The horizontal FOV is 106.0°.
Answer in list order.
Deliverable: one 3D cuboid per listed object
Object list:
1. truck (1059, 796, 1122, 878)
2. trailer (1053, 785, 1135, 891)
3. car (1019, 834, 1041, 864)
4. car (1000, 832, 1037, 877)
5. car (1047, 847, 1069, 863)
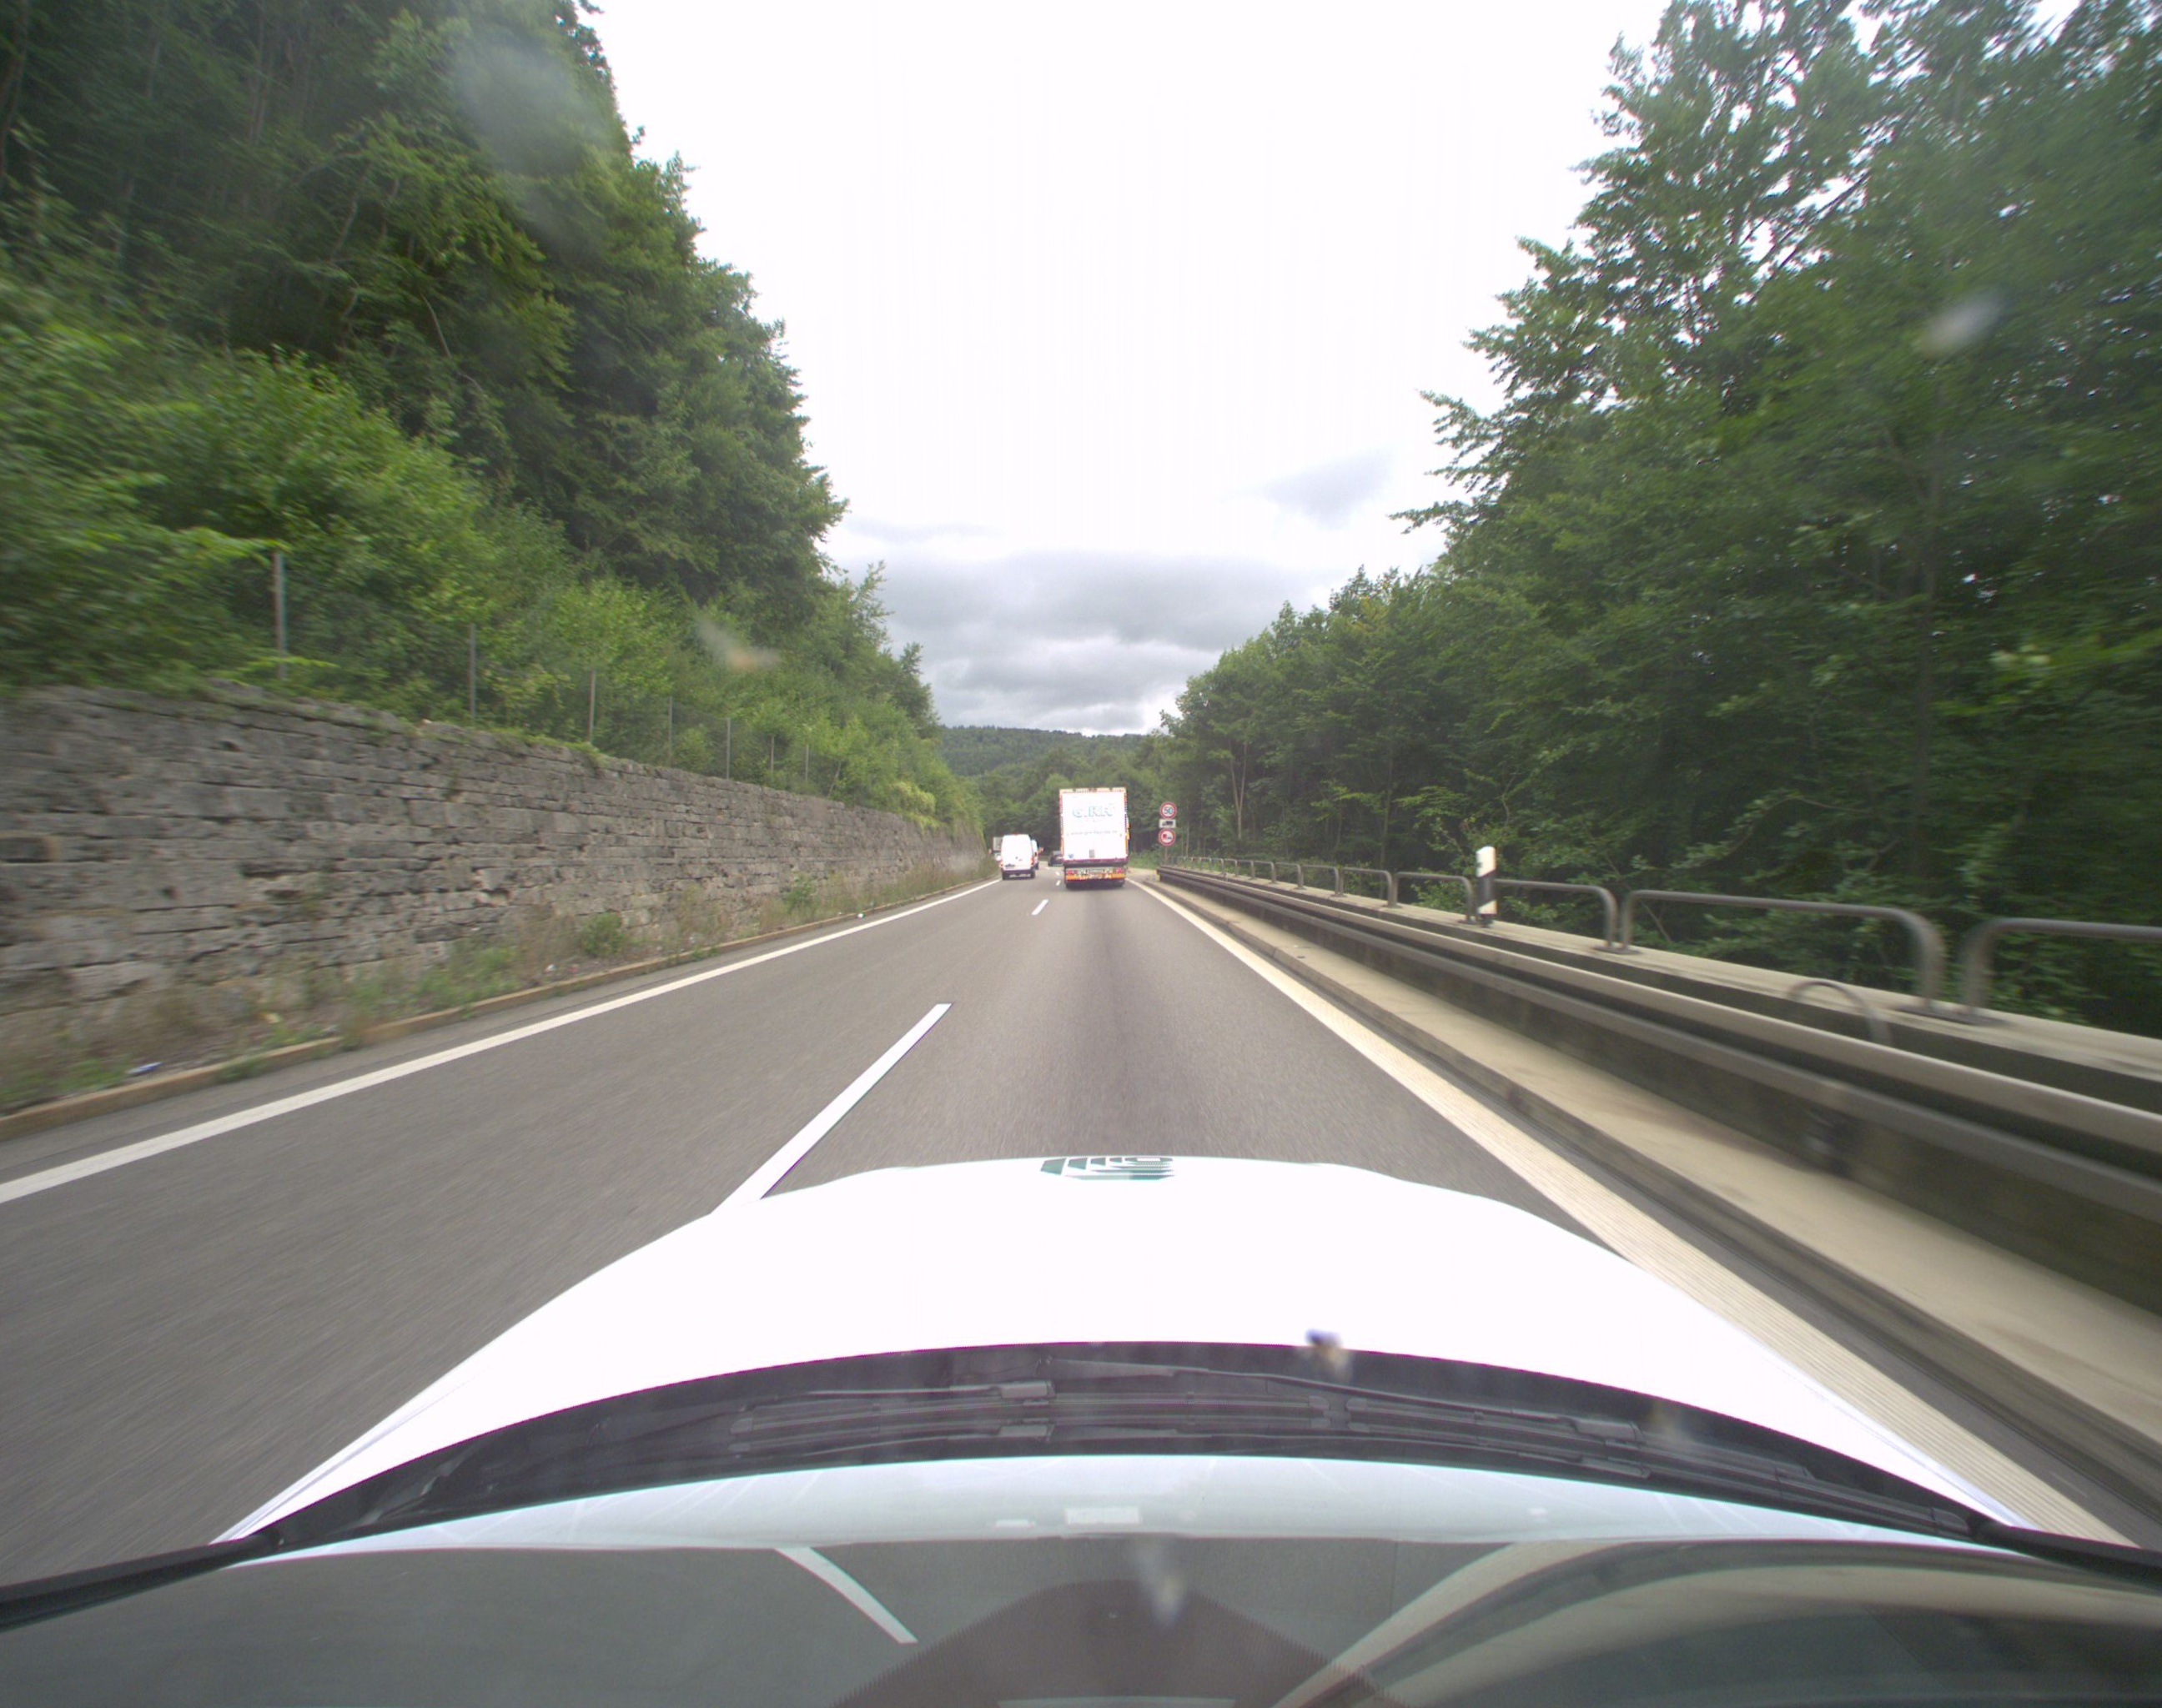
[{"bbox_3d":[0.435,-0.930,43.431,3.048,3.985,7.186,1,1,0],"label":"truck"},{"bbox_3d":[0.472,-0.763,36.998,3.048,3.985,12.135,1,1,0],"label":"trailer"},{"bbox_3d":[-4.746,-0.431,74.858,1.936,2.672,5.980,0,0,-5],"label":"car"},{"bbox_3d":[-3.871,0.009,51.402,1.983,2.672,6.931,0,0,-2],"label":"car"},{"bbox_3d":[-2.458,0.109,84.841,1.991,1.662,3.991,0,0,-6],"label":"car"}]
